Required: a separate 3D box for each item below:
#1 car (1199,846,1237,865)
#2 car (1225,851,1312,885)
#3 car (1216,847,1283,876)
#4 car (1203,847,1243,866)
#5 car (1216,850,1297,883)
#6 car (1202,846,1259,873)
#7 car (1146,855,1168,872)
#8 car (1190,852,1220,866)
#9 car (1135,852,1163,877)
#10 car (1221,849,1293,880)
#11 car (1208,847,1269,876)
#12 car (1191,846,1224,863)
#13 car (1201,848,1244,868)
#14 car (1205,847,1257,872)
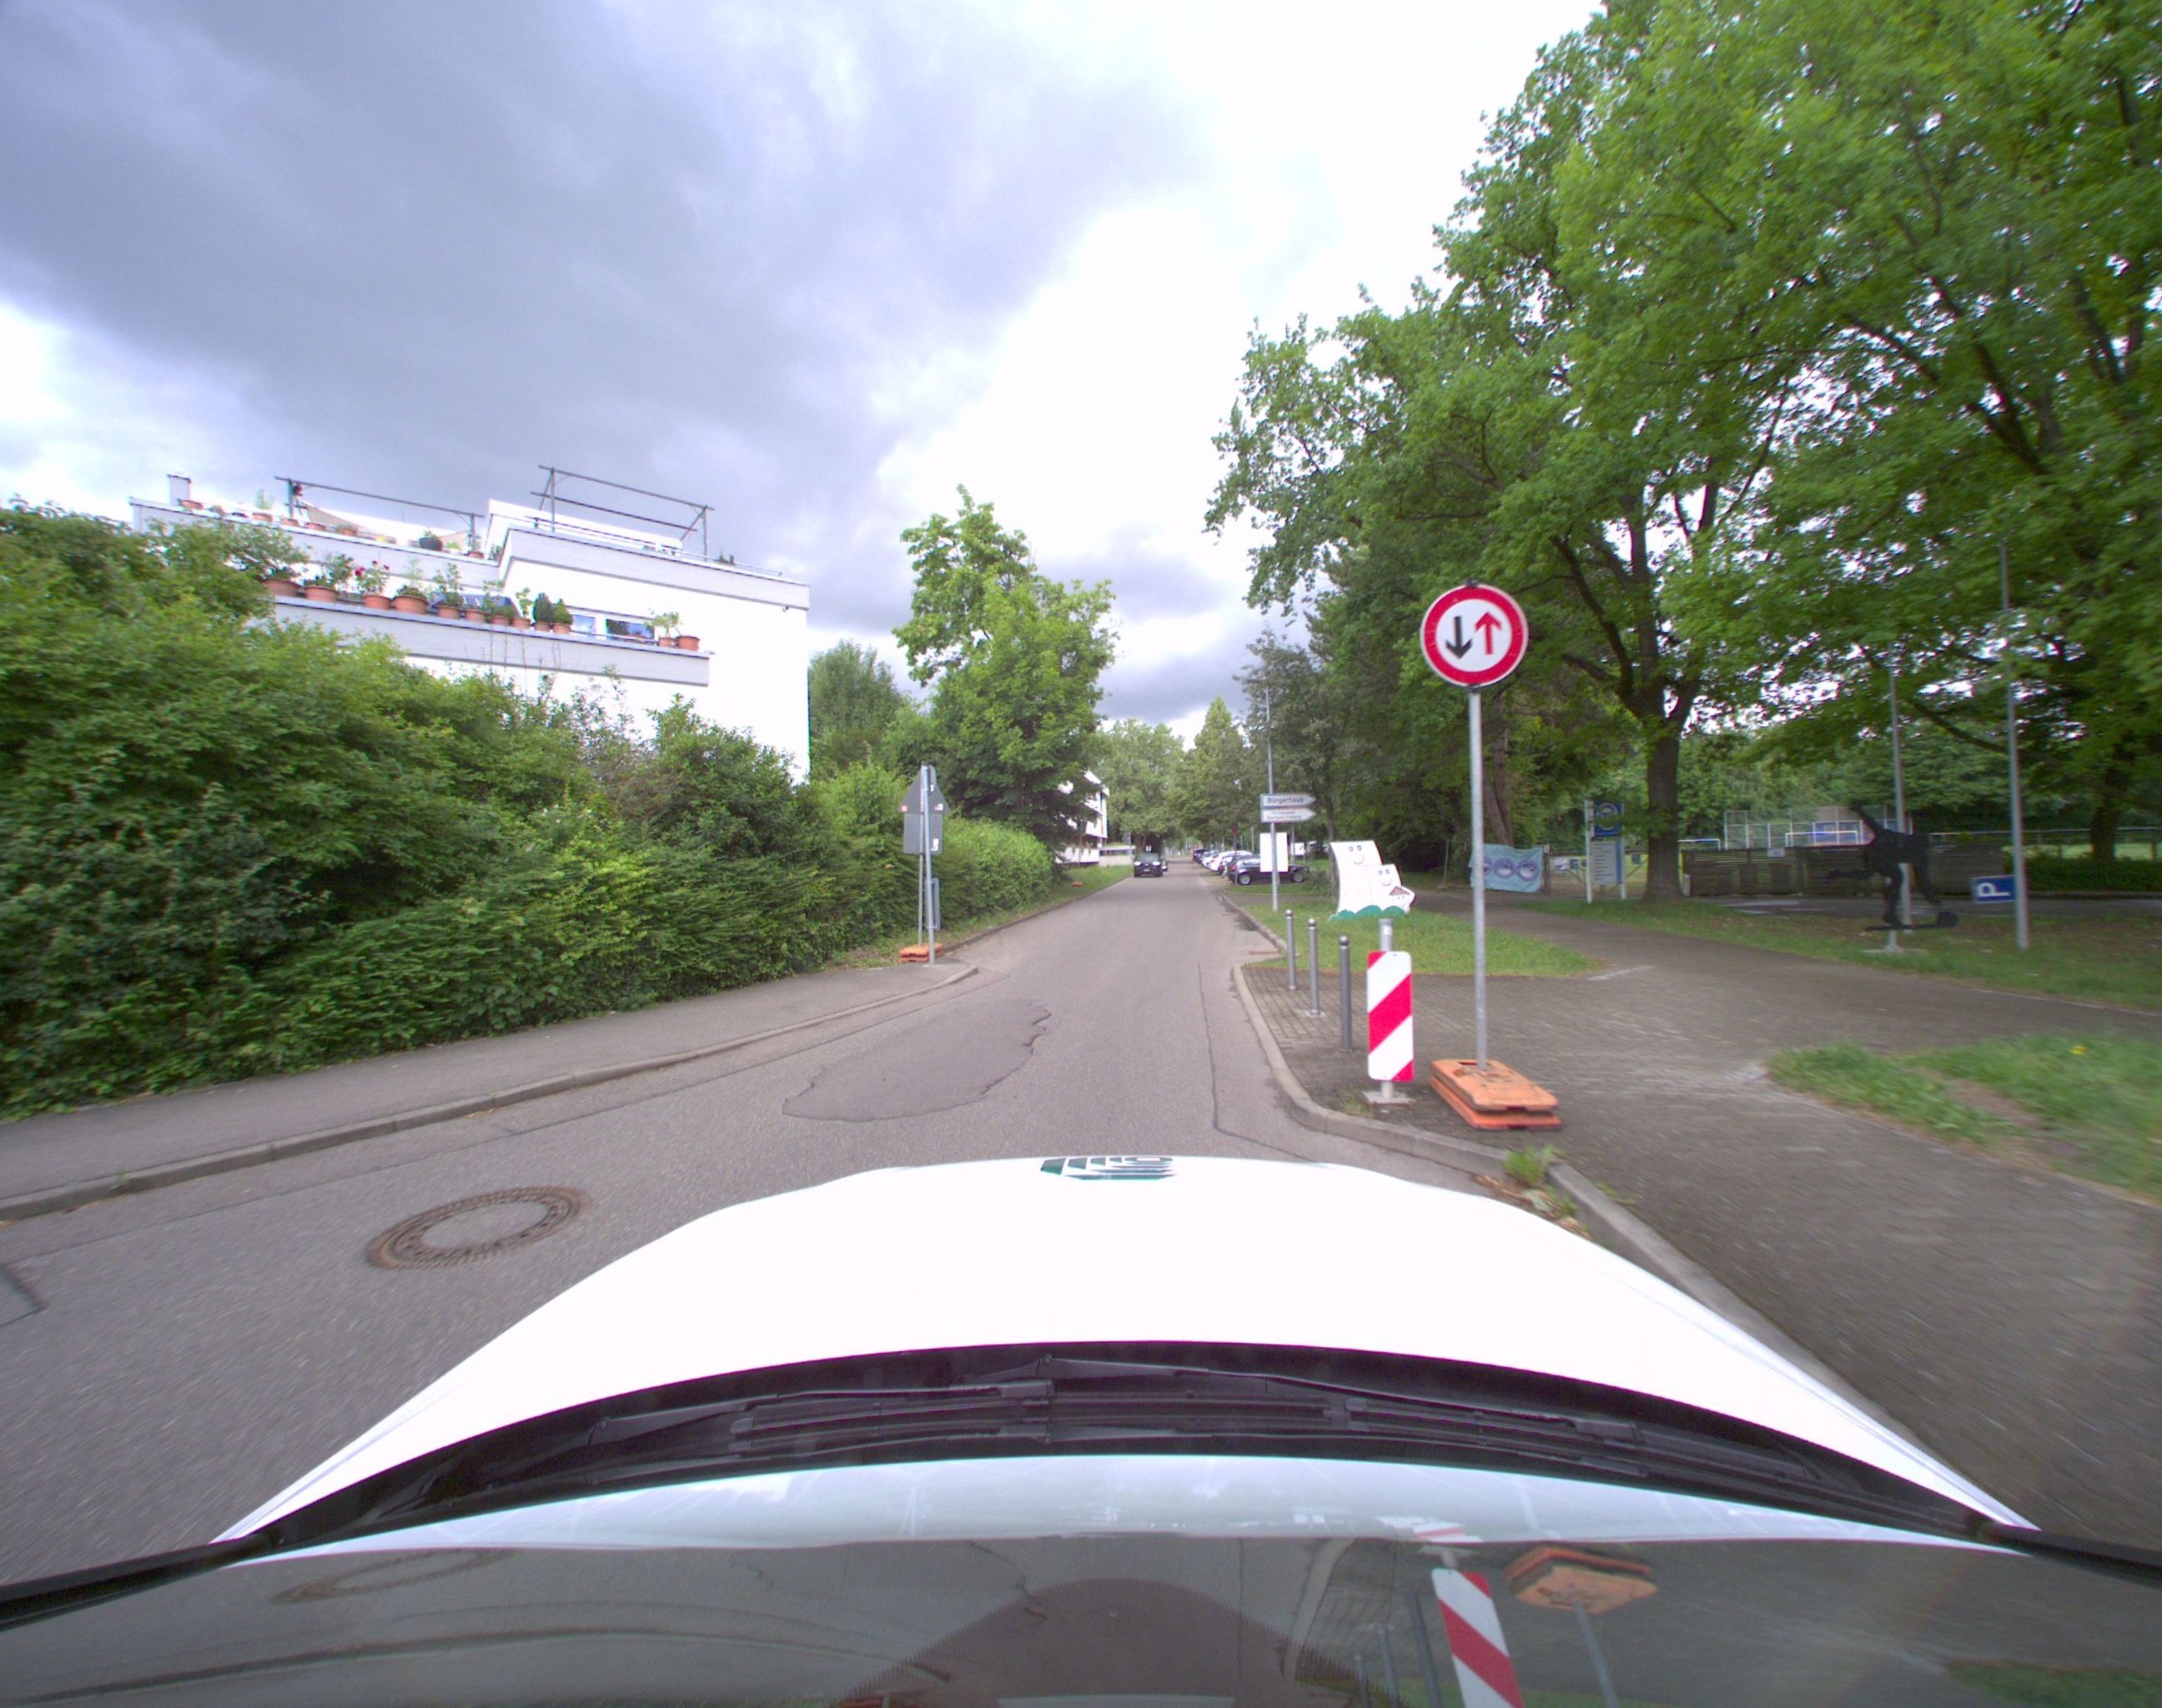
[{"bbox_3d":[15.647,0.166,93.286,4.046,1.687,1.824,-5,-1,3],"label":"car"},{"bbox_3d":[9.499,0.720,41.521,4.042,1.434,2.003,-3,-2,6],"label":"car"},{"bbox_3d":[11.128,0.480,53.907,4.046,1.488,1.824,-5,-1,3],"label":"car"},{"bbox_3d":[15.377,0.308,88.352,4.046,1.687,1.824,-5,-1,3],"label":"car"},{"bbox_3d":[9.503,0.691,44.303,4.042,1.568,1.825,-3,-2,6],"label":"car"},{"bbox_3d":[11.515,0.410,62.980,4.046,1.687,1.824,-5,-1,3],"label":"car"},{"bbox_3d":[7.296,0.865,78.014,1.959,1.575,4.345,-2,0,6],"label":"car"},{"bbox_3d":[18.462,0.763,121.342,4.046,1.770,1.824,-5,-1,3],"label":"car"},{"bbox_3d":[5.127,0.779,61.084,1.959,1.747,4.345,-2,0,6],"label":"car"},{"bbox_3d":[10.588,0.622,49.159,4.042,1.568,1.825,-3,0,6],"label":"car"},{"bbox_3d":[11.408,0.568,59.150,4.046,1.687,1.824,-5,-1,3],"label":"car"},{"bbox_3d":[16.833,0.072,108.739,4.046,1.770,1.824,-5,-1,3],"label":"car"},{"bbox_3d":[14.309,0.394,82.570,4.046,1.687,1.824,-5,-1,3],"label":"car"},{"bbox_3d":[12.752,0.456,69.381,4.046,1.687,1.824,-5,-1,3],"label":"car"}]
